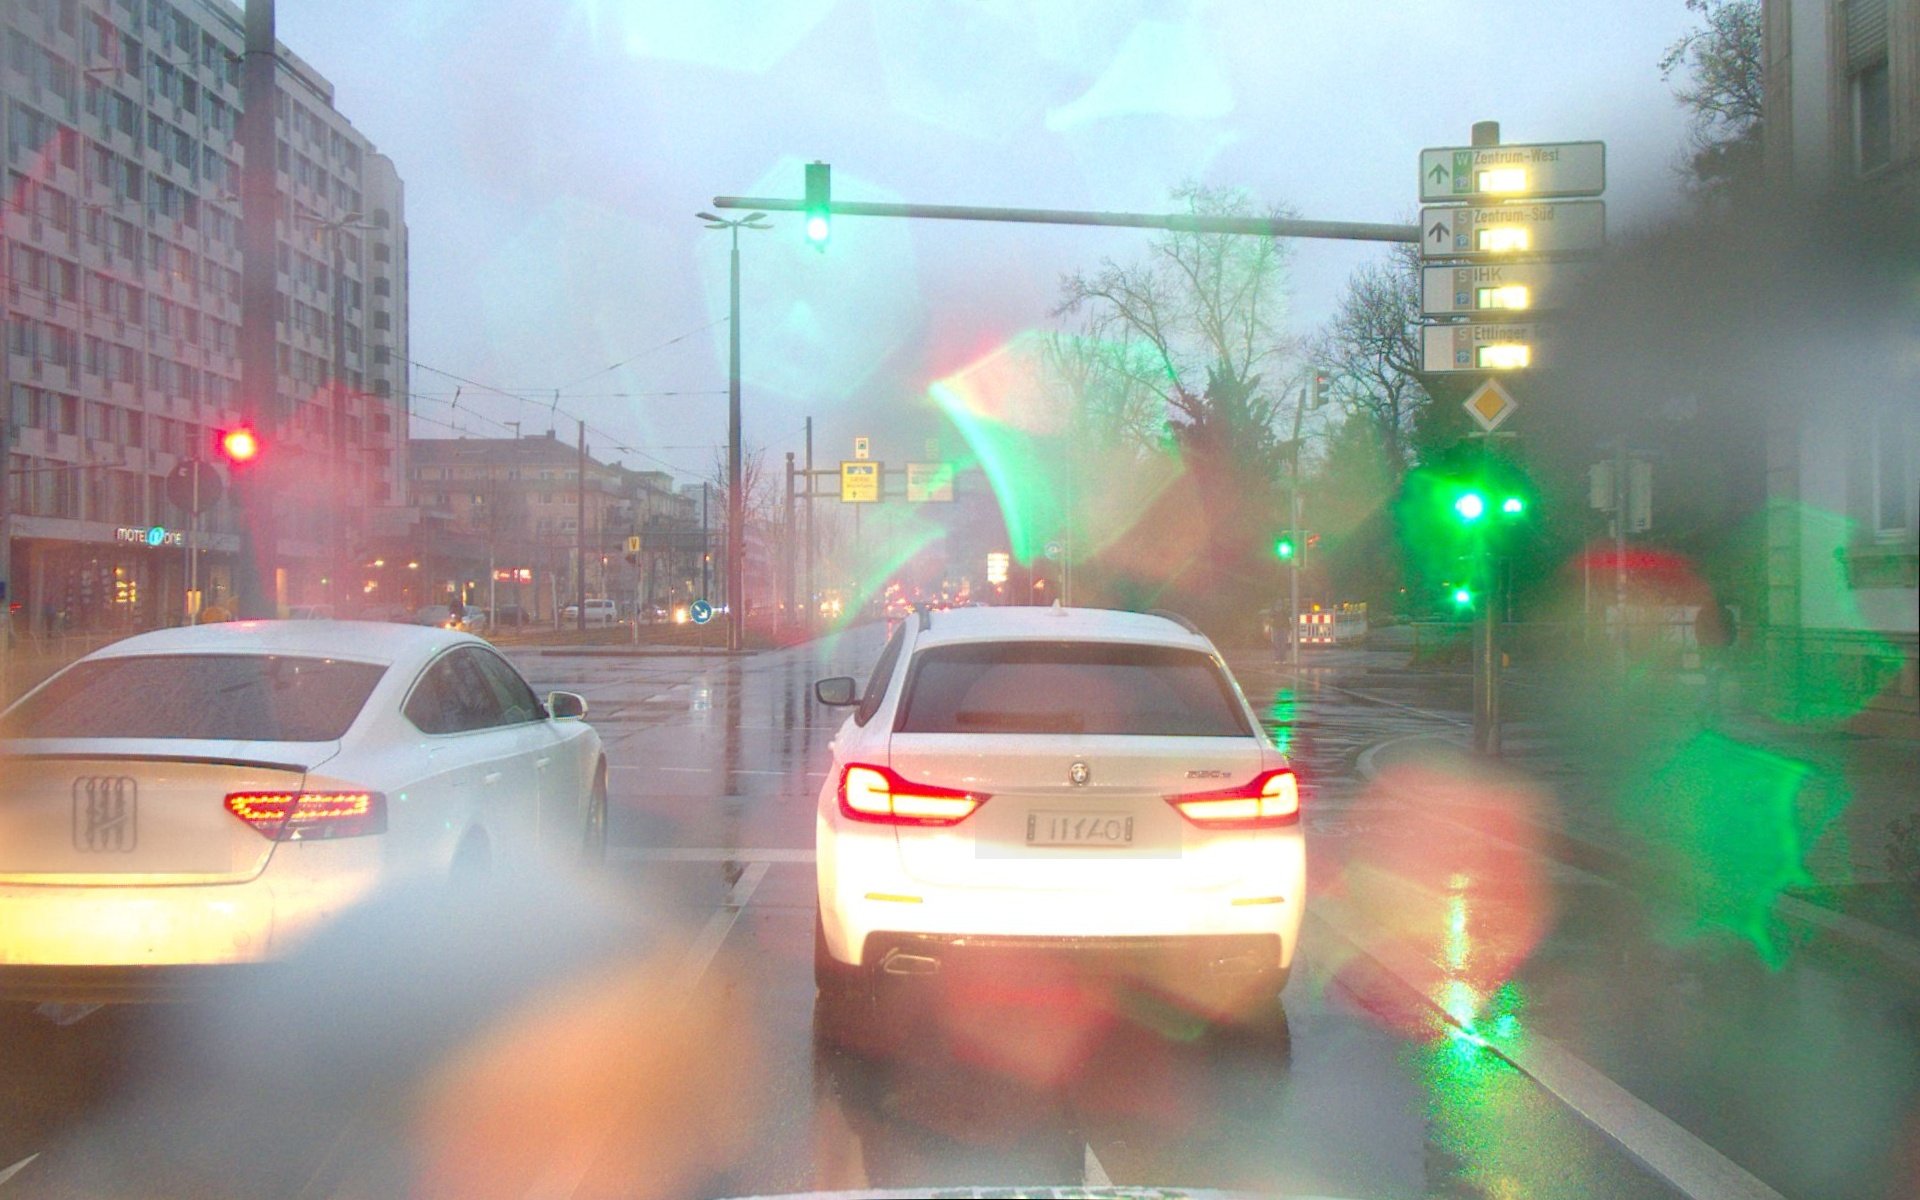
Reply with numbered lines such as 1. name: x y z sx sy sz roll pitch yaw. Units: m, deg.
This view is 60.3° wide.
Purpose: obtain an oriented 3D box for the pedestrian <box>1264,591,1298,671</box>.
1. pedestrian: 7.786 0.746 40.145 0.659 1.912 0.715 1 -1 0

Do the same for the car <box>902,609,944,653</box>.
1. car: -1.780 1.495 80.736 1.953 2.049 3.999 1 0 -1

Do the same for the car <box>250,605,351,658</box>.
1. car: -24.108 1.125 60.641 1.843 1.821 4.598 1 0 -1

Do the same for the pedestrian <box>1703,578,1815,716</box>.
1. pedestrian: 9.905 0.573 20.517 0.993 1.661 0.779 1 -1 -20

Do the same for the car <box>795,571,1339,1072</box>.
1. car: 0.246 0.720 7.401 1.724 1.580 4.249 1 0 -3

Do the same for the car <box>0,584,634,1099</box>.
1. car: -2.566 0.713 6.948 1.724 1.495 4.249 1 0 -3

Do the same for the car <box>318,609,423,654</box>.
1. car: -20.957 1.102 58.994 1.953 1.487 5.094 1 0 -1

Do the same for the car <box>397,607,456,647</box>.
1. car: -21.471 1.060 66.718 1.960 1.487 5.074 1 0 -15

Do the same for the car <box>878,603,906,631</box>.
1. car: -5.175 1.297 126.086 1.953 2.049 3.999 1 0 -1

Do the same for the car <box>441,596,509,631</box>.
1. car: -22.052 0.593 75.381 1.954 1.487 5.090 1 0 -5

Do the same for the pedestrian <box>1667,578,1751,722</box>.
1. pedestrian: 8.674 0.560 19.142 0.767 1.607 1.009 1 -1 30
